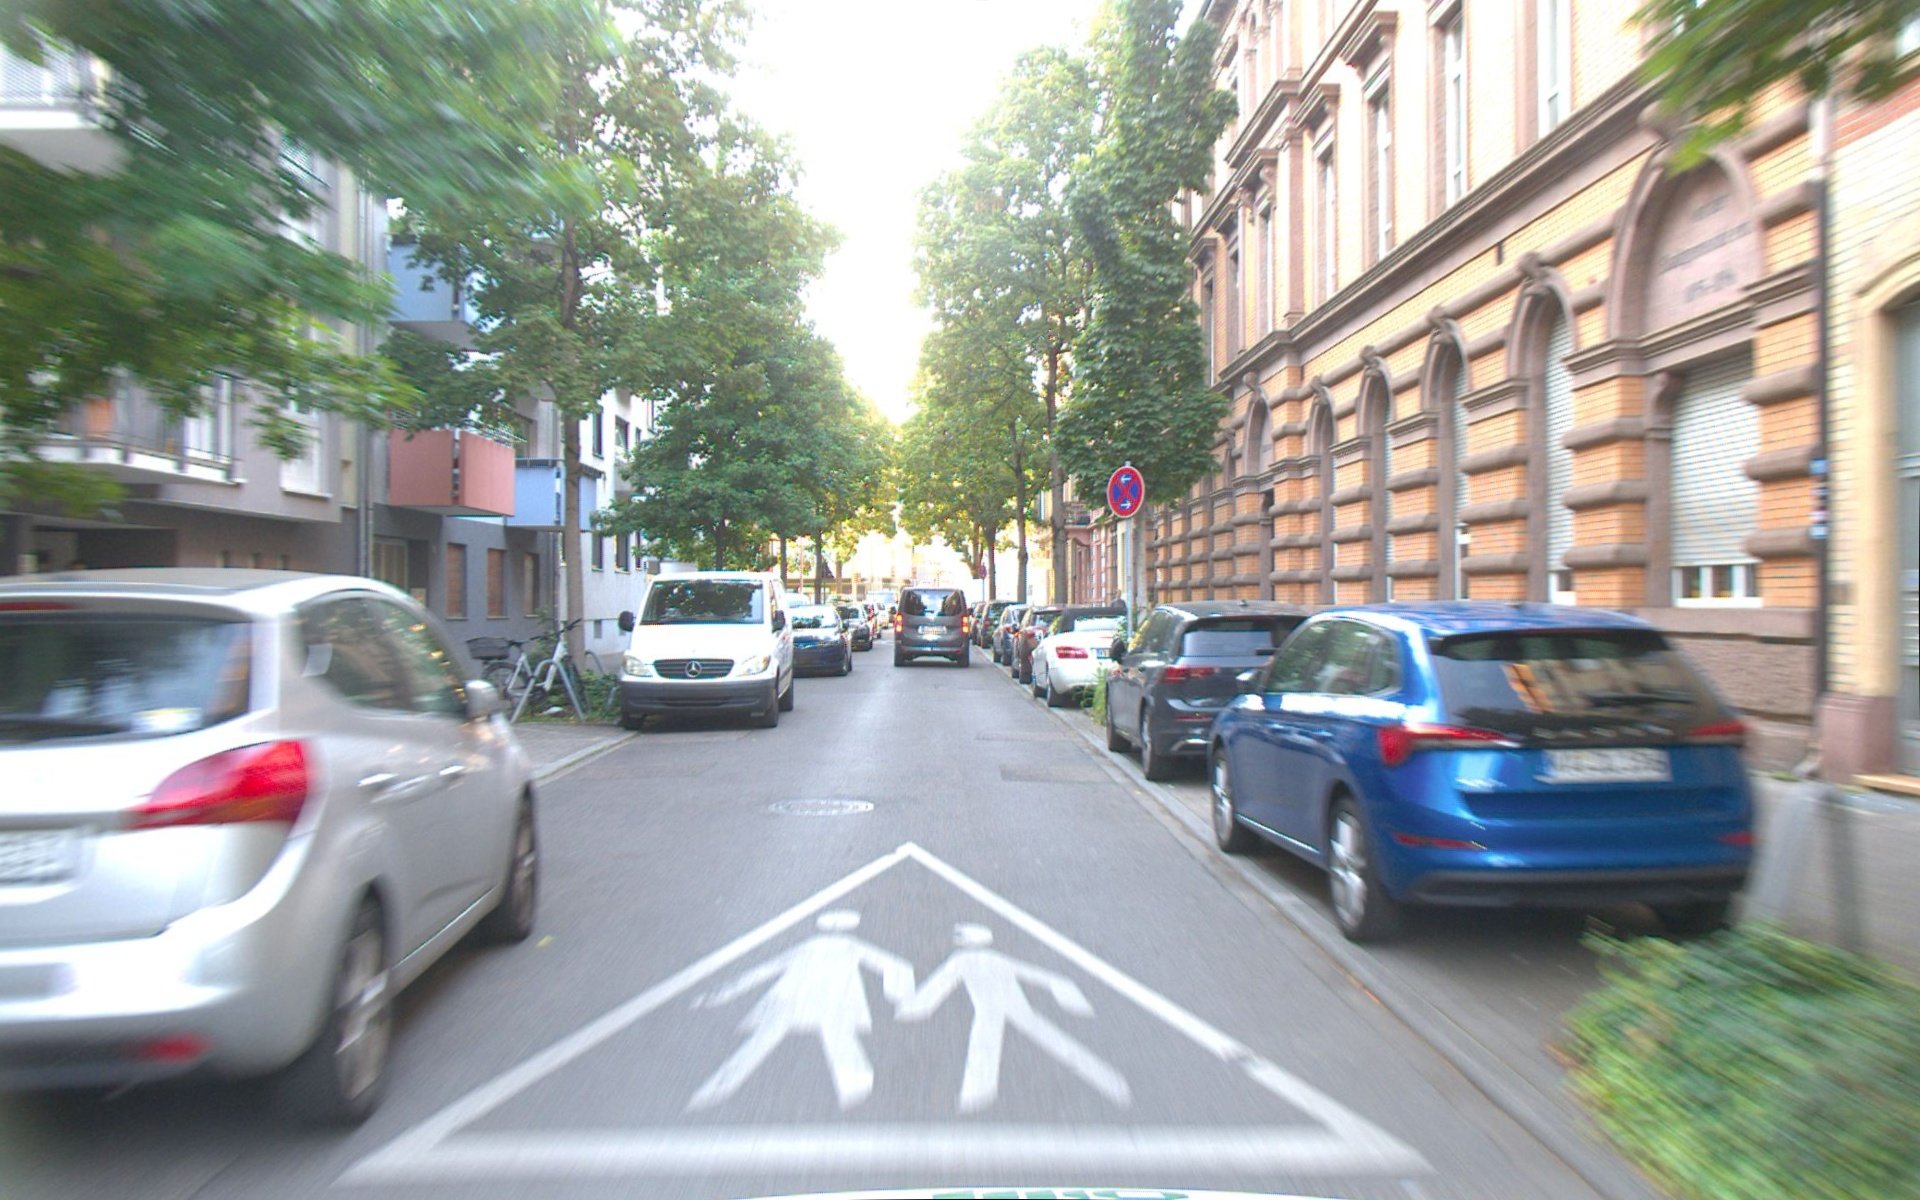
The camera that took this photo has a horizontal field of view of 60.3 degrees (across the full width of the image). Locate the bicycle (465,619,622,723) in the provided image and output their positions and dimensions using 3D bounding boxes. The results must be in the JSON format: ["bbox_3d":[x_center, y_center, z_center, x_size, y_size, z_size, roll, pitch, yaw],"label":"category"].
[{"bbox_3d":[-5.094,0.847,20.314,0.686,1.184,1.813,-1,0,40],"label":"bicycle"}]

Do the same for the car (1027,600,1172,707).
[{"bbox_3d":[2.023,0.737,25.151,1.659,1.426,4.644,-1,0,-2],"label":"car"}]

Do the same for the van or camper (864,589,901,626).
[{"bbox_3d":[-4.340,0.405,93.241,1.824,2.018,4.270,-1,0,0],"label":"van or camper"}]

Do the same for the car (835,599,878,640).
[{"bbox_3d":[-4.079,0.760,65.505,1.597,1.455,3.541,-1,2,-2],"label":"car"}]

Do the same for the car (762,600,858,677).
[{"bbox_3d":[-3.162,0.796,35.568,1.793,1.544,4.514,0,0,-2],"label":"car"}]

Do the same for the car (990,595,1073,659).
[{"bbox_3d":[1.783,0.659,42.385,1.664,1.508,3.997,-2,0,-3],"label":"car"}]

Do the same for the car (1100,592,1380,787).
[{"bbox_3d":[2.337,0.683,14.851,1.677,1.503,4.191,0,0,-2],"label":"car"}]

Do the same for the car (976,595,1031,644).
[{"bbox_3d":[1.451,0.630,56.390,1.579,1.586,3.764,-1,0,-3],"label":"car"}]

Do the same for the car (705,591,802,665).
[{"bbox_3d":[-5.205,0.665,42.345,1.993,1.701,4.646,3,0,-2],"label":"car"}]

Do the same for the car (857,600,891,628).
[{"bbox_3d":[-4.554,0.712,88.131,1.706,1.429,3.374,-1,0,-2],"label":"car"}]

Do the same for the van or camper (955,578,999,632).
[{"bbox_3d":[0.855,0.255,84.386,1.953,2.644,5.421,0,0,-3],"label":"van or camper"}]

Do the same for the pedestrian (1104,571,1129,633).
[{"bbox_3d":[4.281,0.065,45.160,0.614,1.677,0.531,0,0,-1],"label":"pedestrian"}]

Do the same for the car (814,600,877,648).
[{"bbox_3d":[-3.676,0.757,53.772,1.809,1.477,4.501,0,0,-1],"label":"car"}]

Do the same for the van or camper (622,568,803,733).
[{"bbox_3d":[-3.066,0.565,21.376,1.839,1.875,4.750,-1,0,-3],"label":"van or camper"}]

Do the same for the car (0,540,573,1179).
[{"bbox_3d":[-2.586,0.650,6.125,1.630,1.590,3.996,-1,0,-4],"label":"car"}]

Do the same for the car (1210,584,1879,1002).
[{"bbox_3d":[2.463,0.694,8.151,1.595,1.492,4.243,-1,0,-3],"label":"car"}]

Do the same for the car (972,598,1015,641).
[{"bbox_3d":[1.243,0.685,60.450,1.519,1.523,3.611,0,0,1],"label":"car"}]

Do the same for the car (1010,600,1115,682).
[{"bbox_3d":[1.949,0.760,32.486,1.687,1.475,4.213,-1,0,-1],"label":"car"}]

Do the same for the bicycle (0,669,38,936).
[{"bbox_3d":[-4.271,0.866,6.490,0.411,1.123,1.664,1,0,-2],"label":"bicycle"}]

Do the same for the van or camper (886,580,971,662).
[{"bbox_3d":[-0.734,0.505,41.344,1.993,1.931,4.271,0,0,1],"label":"van or camper"}]

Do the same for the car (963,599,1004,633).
[{"bbox_3d":[1.040,0.695,73.407,1.714,1.497,3.775,0,0,-1],"label":"car"}]

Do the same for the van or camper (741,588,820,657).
[{"bbox_3d":[-5.132,0.615,47.815,1.892,1.790,4.463,3,0,-2],"label":"van or camper"}]
